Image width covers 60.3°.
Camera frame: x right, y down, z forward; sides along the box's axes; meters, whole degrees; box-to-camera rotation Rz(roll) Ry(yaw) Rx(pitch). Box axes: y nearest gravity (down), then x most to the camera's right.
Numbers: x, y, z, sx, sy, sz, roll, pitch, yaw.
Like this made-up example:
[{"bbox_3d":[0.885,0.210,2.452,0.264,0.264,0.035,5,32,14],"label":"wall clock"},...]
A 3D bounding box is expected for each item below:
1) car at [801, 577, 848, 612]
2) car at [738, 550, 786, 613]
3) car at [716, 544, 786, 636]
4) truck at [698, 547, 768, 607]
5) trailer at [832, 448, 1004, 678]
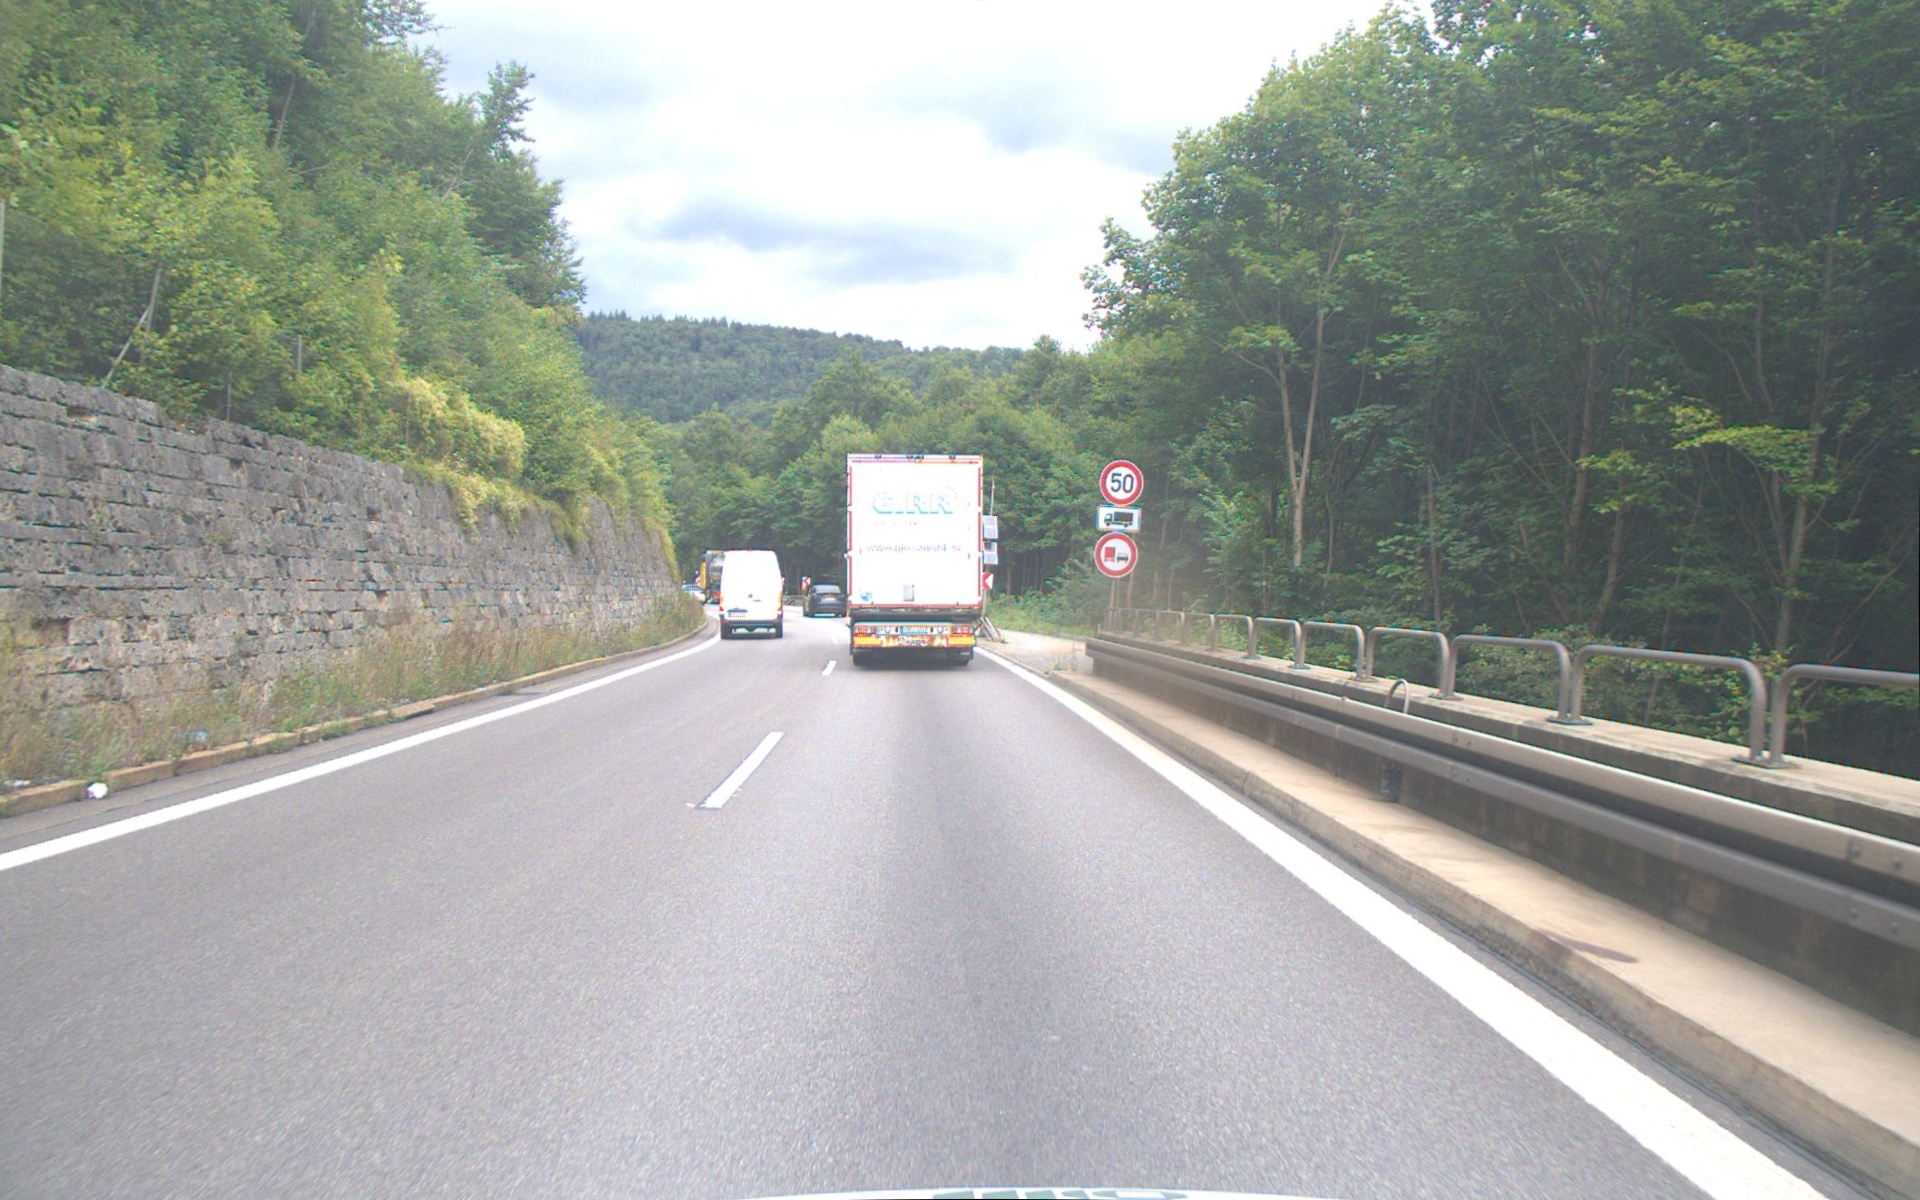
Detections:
[{"bbox_3d":[-6.825,-0.286,82.882,1.957,1.691,3.991,2,0,-10],"label":"car"},{"bbox_3d":[-9.182,-0.856,76.408,1.904,2.719,5.979,2,0,-9],"label":"car"},{"bbox_3d":[-6.708,-0.329,53.624,1.950,2.719,6.928,2,0,-5],"label":"car"},{"bbox_3d":[-16.817,-1.773,121.729,3.009,4.055,13.636,-1,2,-17],"label":"truck"},{"bbox_3d":[-1.118,-0.857,36.263,2.997,4.055,12.130,2,2,-3],"label":"trailer"}]
